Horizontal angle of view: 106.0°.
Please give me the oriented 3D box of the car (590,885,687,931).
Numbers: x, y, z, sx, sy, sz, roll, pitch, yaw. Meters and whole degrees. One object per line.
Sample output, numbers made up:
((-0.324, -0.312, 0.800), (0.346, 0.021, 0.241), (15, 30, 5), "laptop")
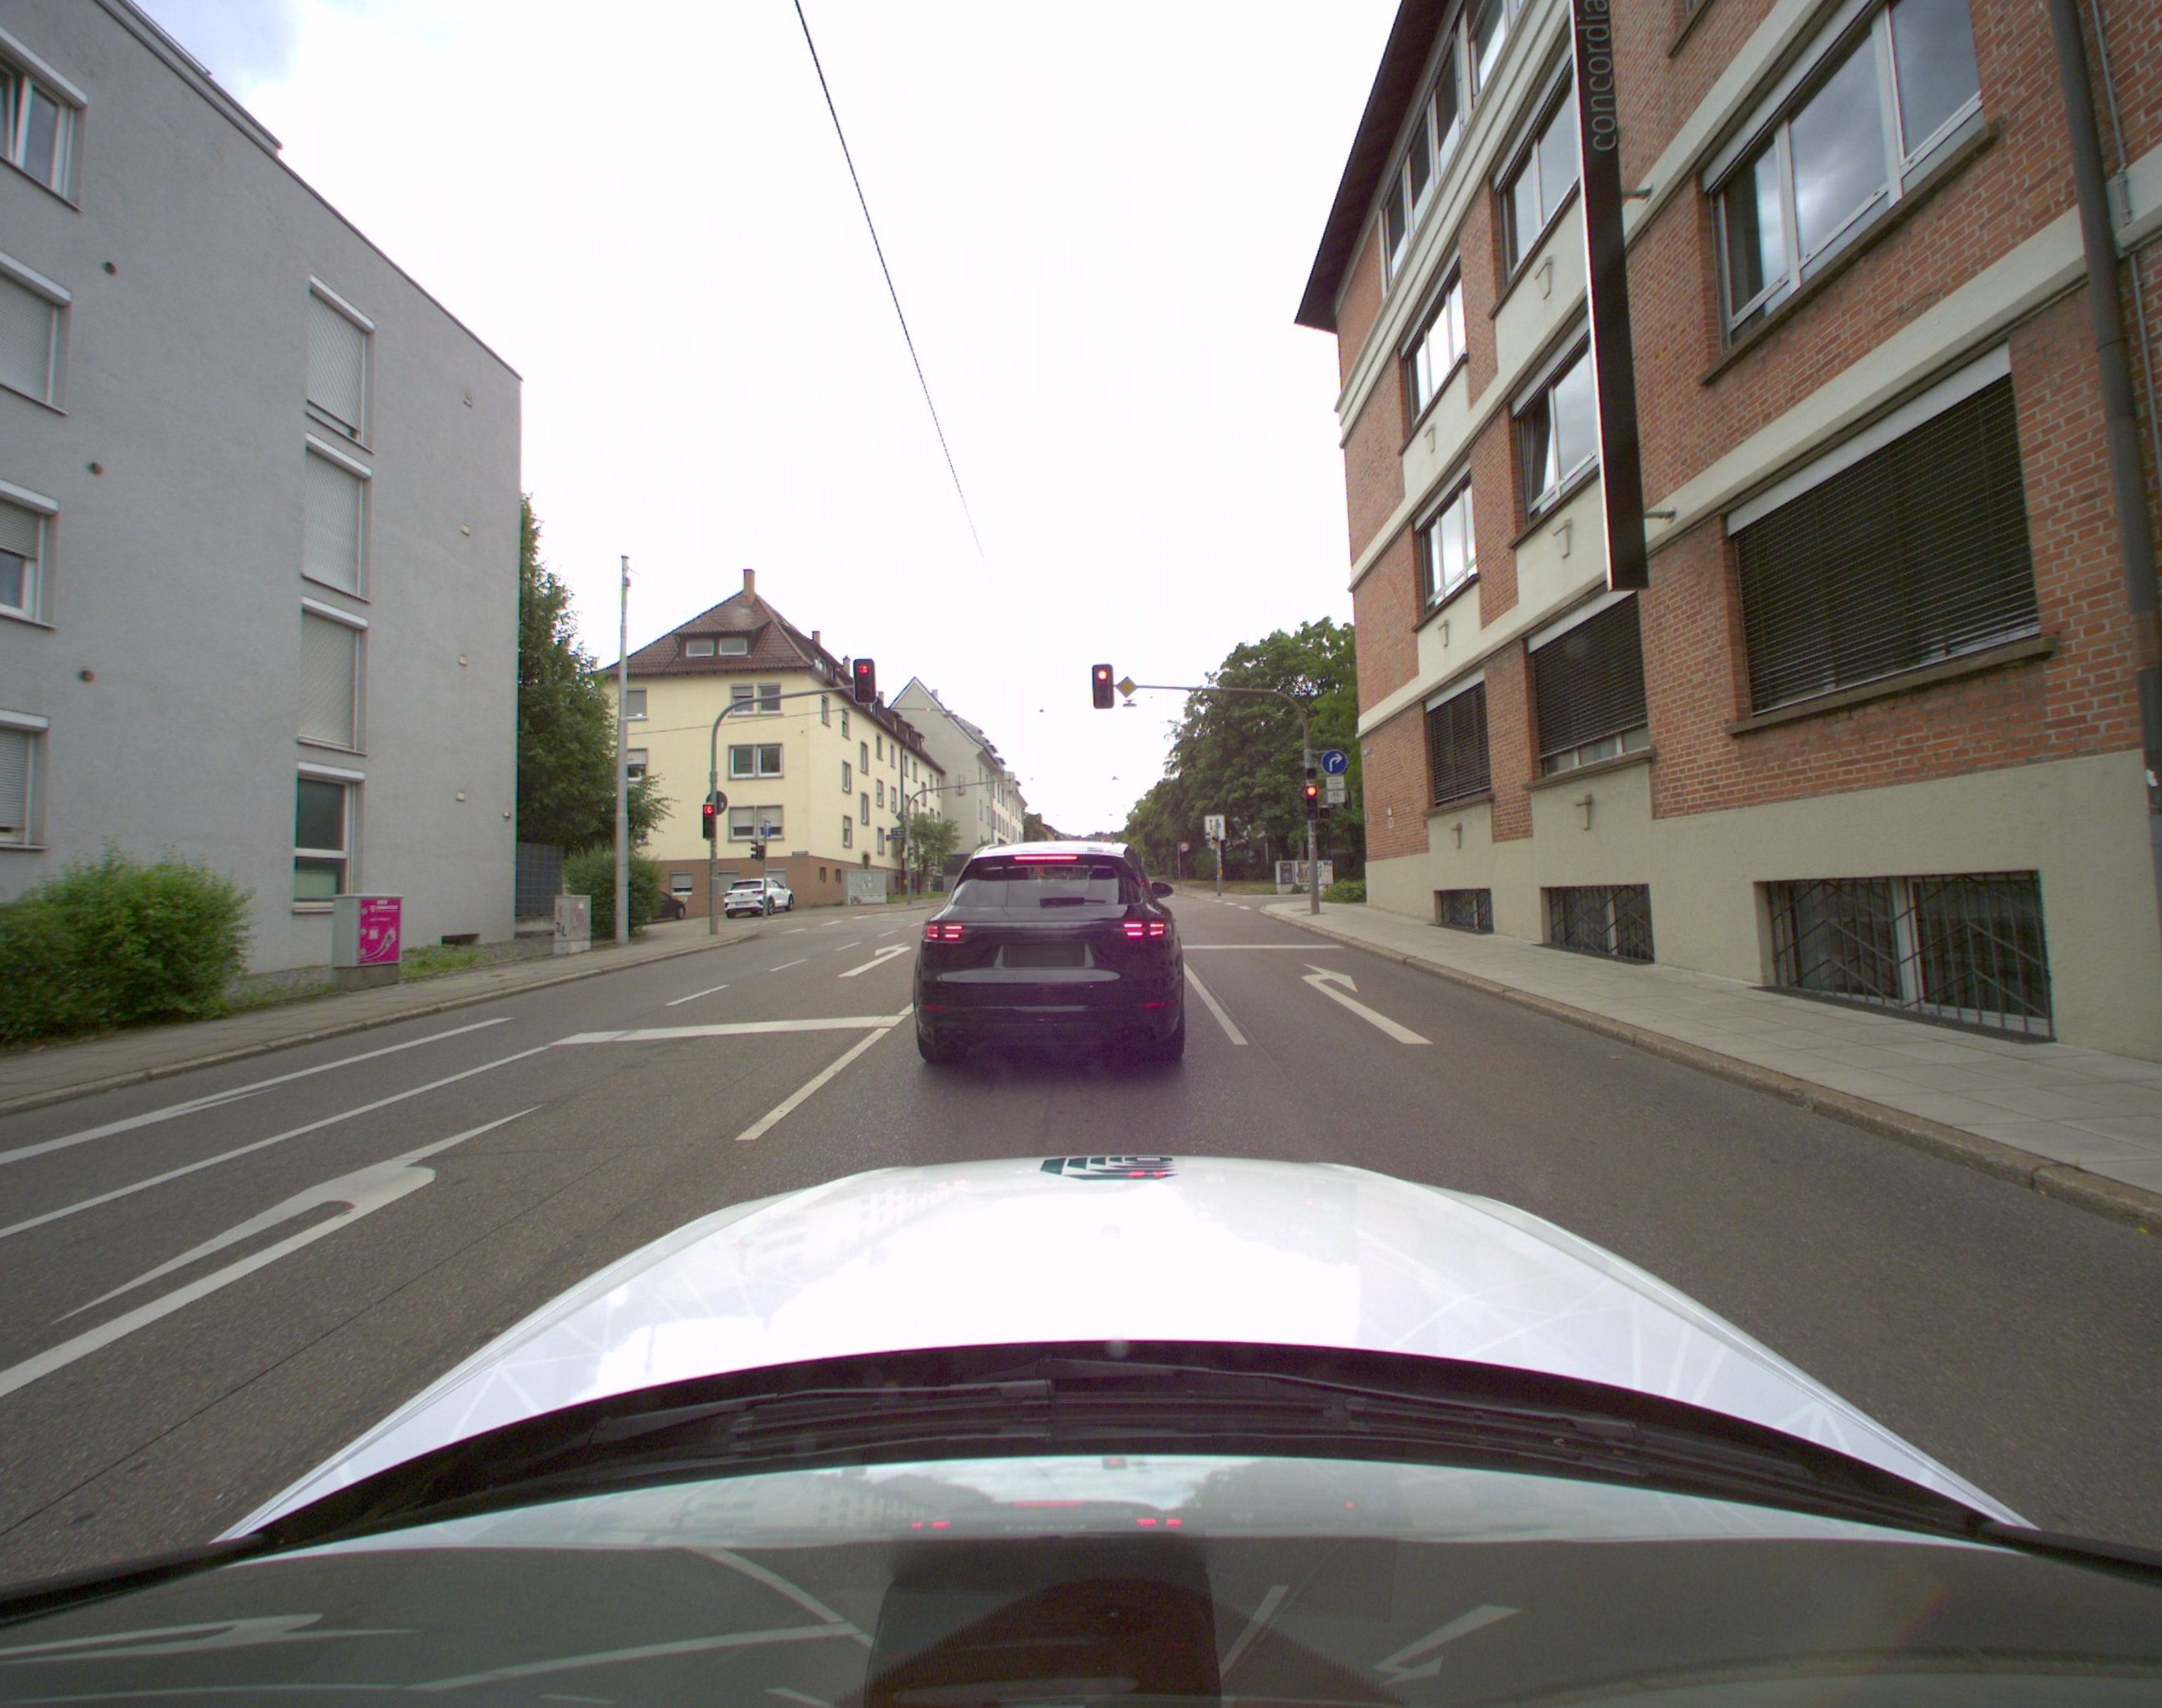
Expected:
((-18.592, 2.229, 34.444), (1.664, 1.546, 4.103), (-5, -1, 2), "car")

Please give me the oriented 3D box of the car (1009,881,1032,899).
((-5.151, 3.055, 69.800), (1.665, 1.362, 3.998), (-1, -1, -1), "car")

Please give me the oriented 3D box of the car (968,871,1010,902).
((-5.214, 1.803, 46.539), (1.657, 1.519, 3.742), (-5, -1, 2), "car")

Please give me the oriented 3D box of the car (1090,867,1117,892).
((1.424, 1.630, 53.031), (1.682, 1.552, 3.889), (-1, 0, 1), "car")

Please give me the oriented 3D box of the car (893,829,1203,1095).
((-0.158, 0.709, 7.253), (1.986, 1.697, 4.001), (-1, 0, 2), "car")

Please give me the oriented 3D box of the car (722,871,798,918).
((-13.485, 1.653, 34.429), (1.666, 1.662, 3.996), (-4, 0, -3), "car")
